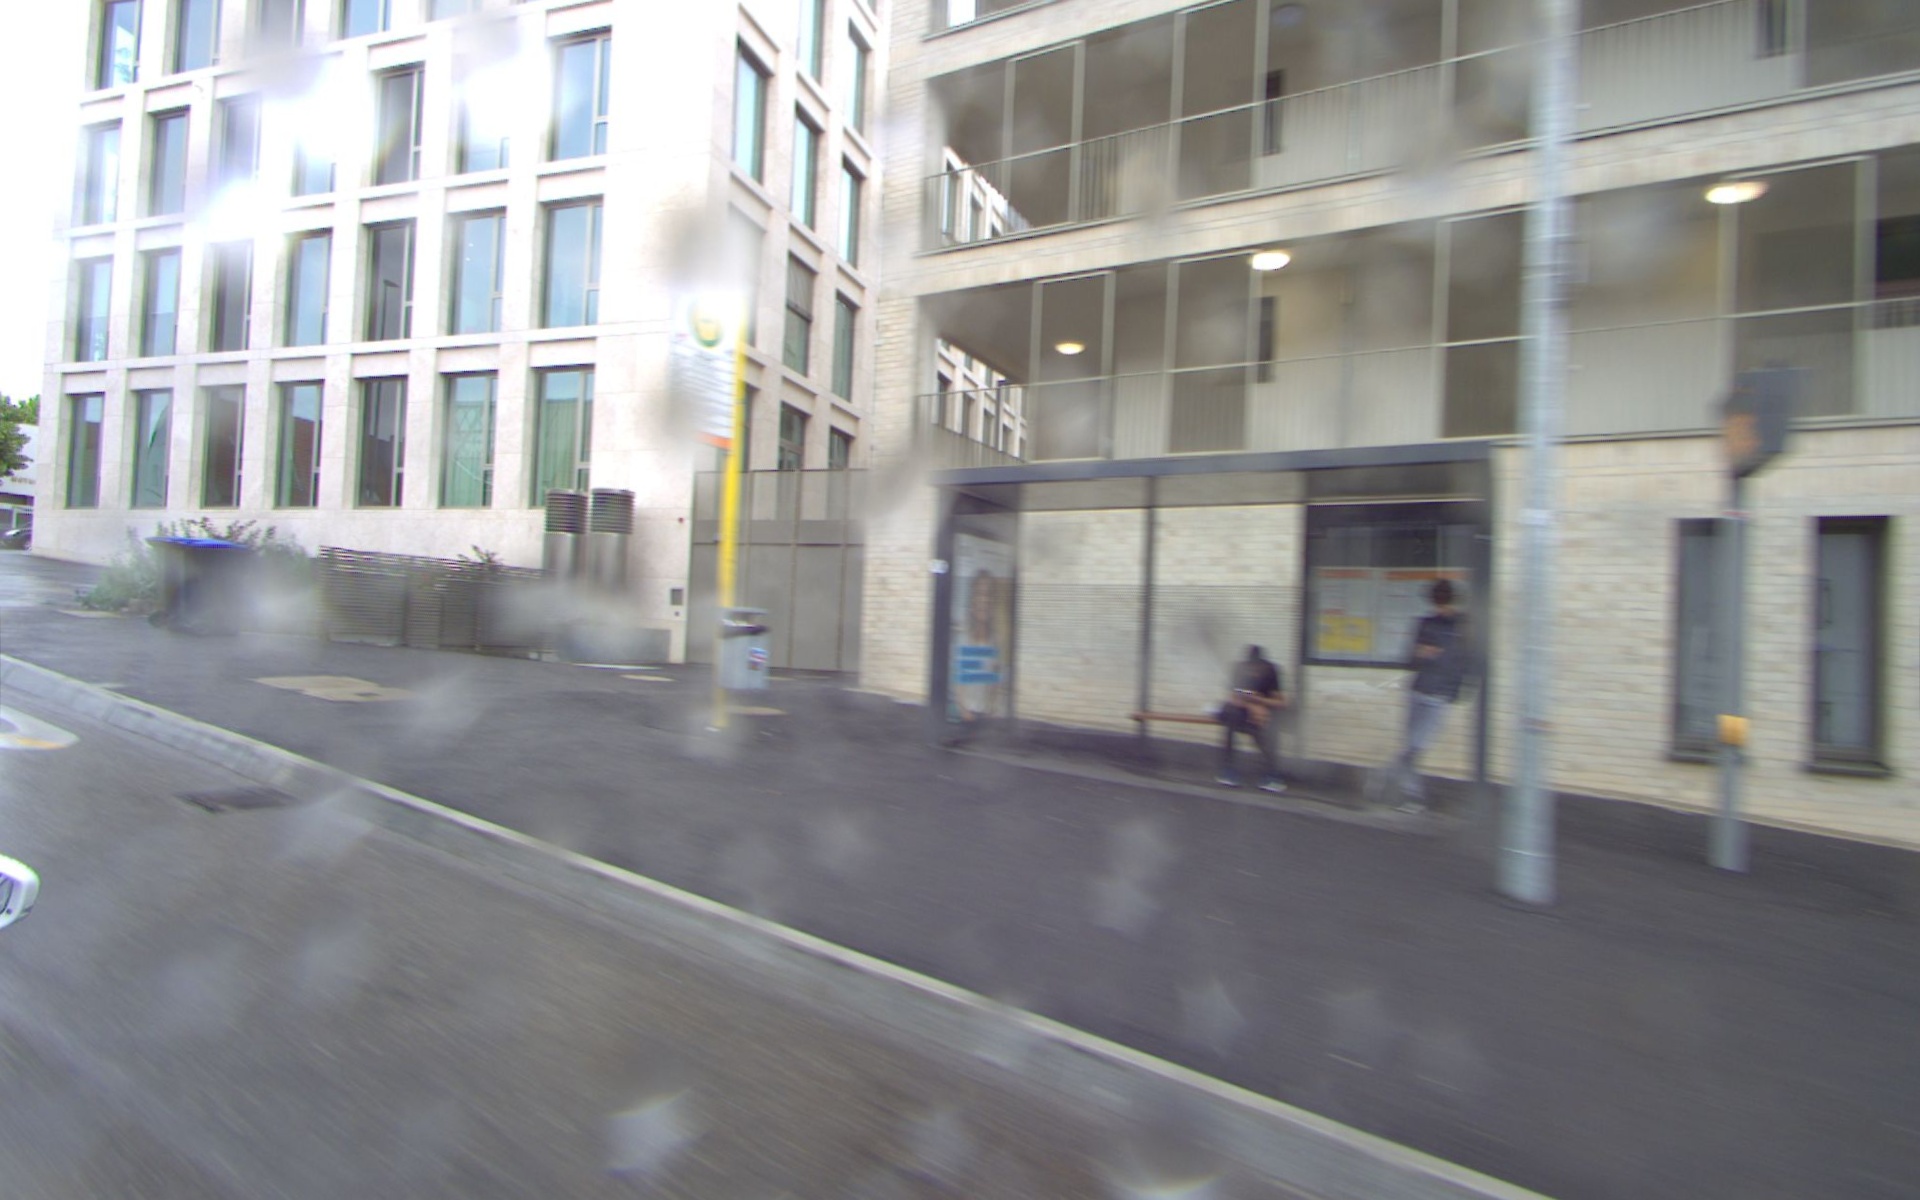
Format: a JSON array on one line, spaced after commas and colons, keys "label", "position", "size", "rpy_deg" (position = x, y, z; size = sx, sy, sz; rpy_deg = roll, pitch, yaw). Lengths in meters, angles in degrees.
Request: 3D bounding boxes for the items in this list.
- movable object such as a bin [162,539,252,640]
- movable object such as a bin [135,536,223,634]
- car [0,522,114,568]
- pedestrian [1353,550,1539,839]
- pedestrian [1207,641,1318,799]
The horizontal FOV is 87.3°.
[{"label": "movable object such as a bin", "position": [-8.559, -0.113, 11.434], "size": [0.569, 1.076, 0.596], "rpy_deg": [6, 2, 32]}, {"label": "movable object such as a bin", "position": [-9.163, -0.170, 11.810], "size": [0.569, 1.076, 0.596], "rpy_deg": [6, 2, 32]}, {"label": "car", "position": [-42.402, -2.507, 46.831], "size": [1.746, 1.839, 4.312], "rpy_deg": [0, 0, 18]}, {"label": "pedestrian", "position": [3.671, 0.659, 7.595], "size": [1.004, 1.966, 0.782], "rpy_deg": [6, 3, 32]}, {"label": "pedestrian", "position": [2.523, 0.966, 8.377], "size": [0.625, 1.178, 0.672], "rpy_deg": [6, 3, 32]}]
